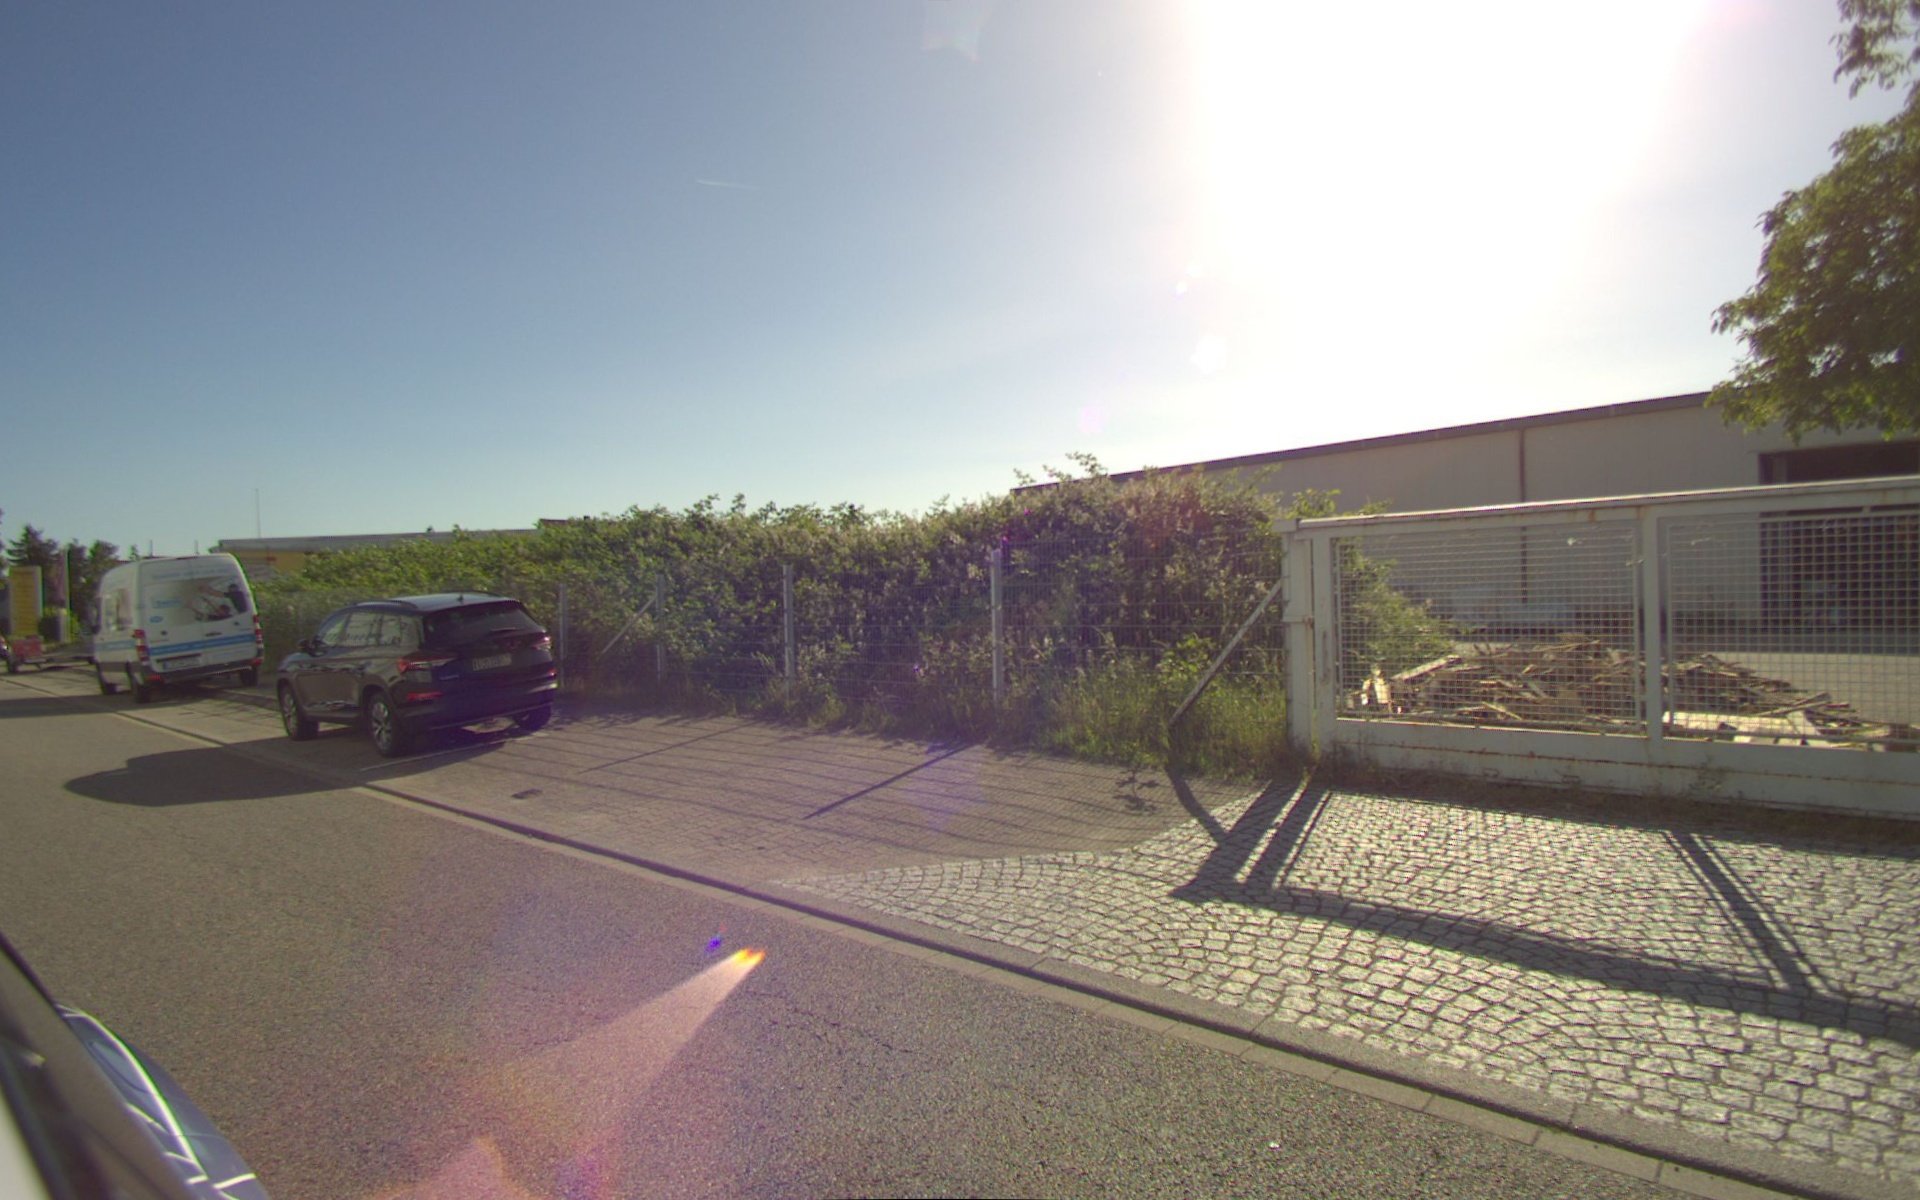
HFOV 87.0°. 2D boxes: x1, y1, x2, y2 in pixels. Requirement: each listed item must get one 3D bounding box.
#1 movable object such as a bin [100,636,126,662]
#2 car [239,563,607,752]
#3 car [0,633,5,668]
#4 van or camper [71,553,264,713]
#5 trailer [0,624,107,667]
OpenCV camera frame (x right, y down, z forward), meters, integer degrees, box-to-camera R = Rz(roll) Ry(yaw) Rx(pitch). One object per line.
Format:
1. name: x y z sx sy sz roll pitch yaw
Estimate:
1. movable object such as a bin: -34.449 1.986 41.170 0.606 0.979 0.752 -1 1 -24
2. car: -6.590 0.594 12.139 5.102 1.706 2.011 -2 3 40
3. car: -44.950 2.359 45.990 5.001 1.521 1.781 -2 3 42
4. van or camper: -16.259 0.633 20.606 5.947 2.704 1.946 -2 4 43
5. trailer: -30.334 1.508 33.403 6.242 1.088 2.352 -3 3 41
